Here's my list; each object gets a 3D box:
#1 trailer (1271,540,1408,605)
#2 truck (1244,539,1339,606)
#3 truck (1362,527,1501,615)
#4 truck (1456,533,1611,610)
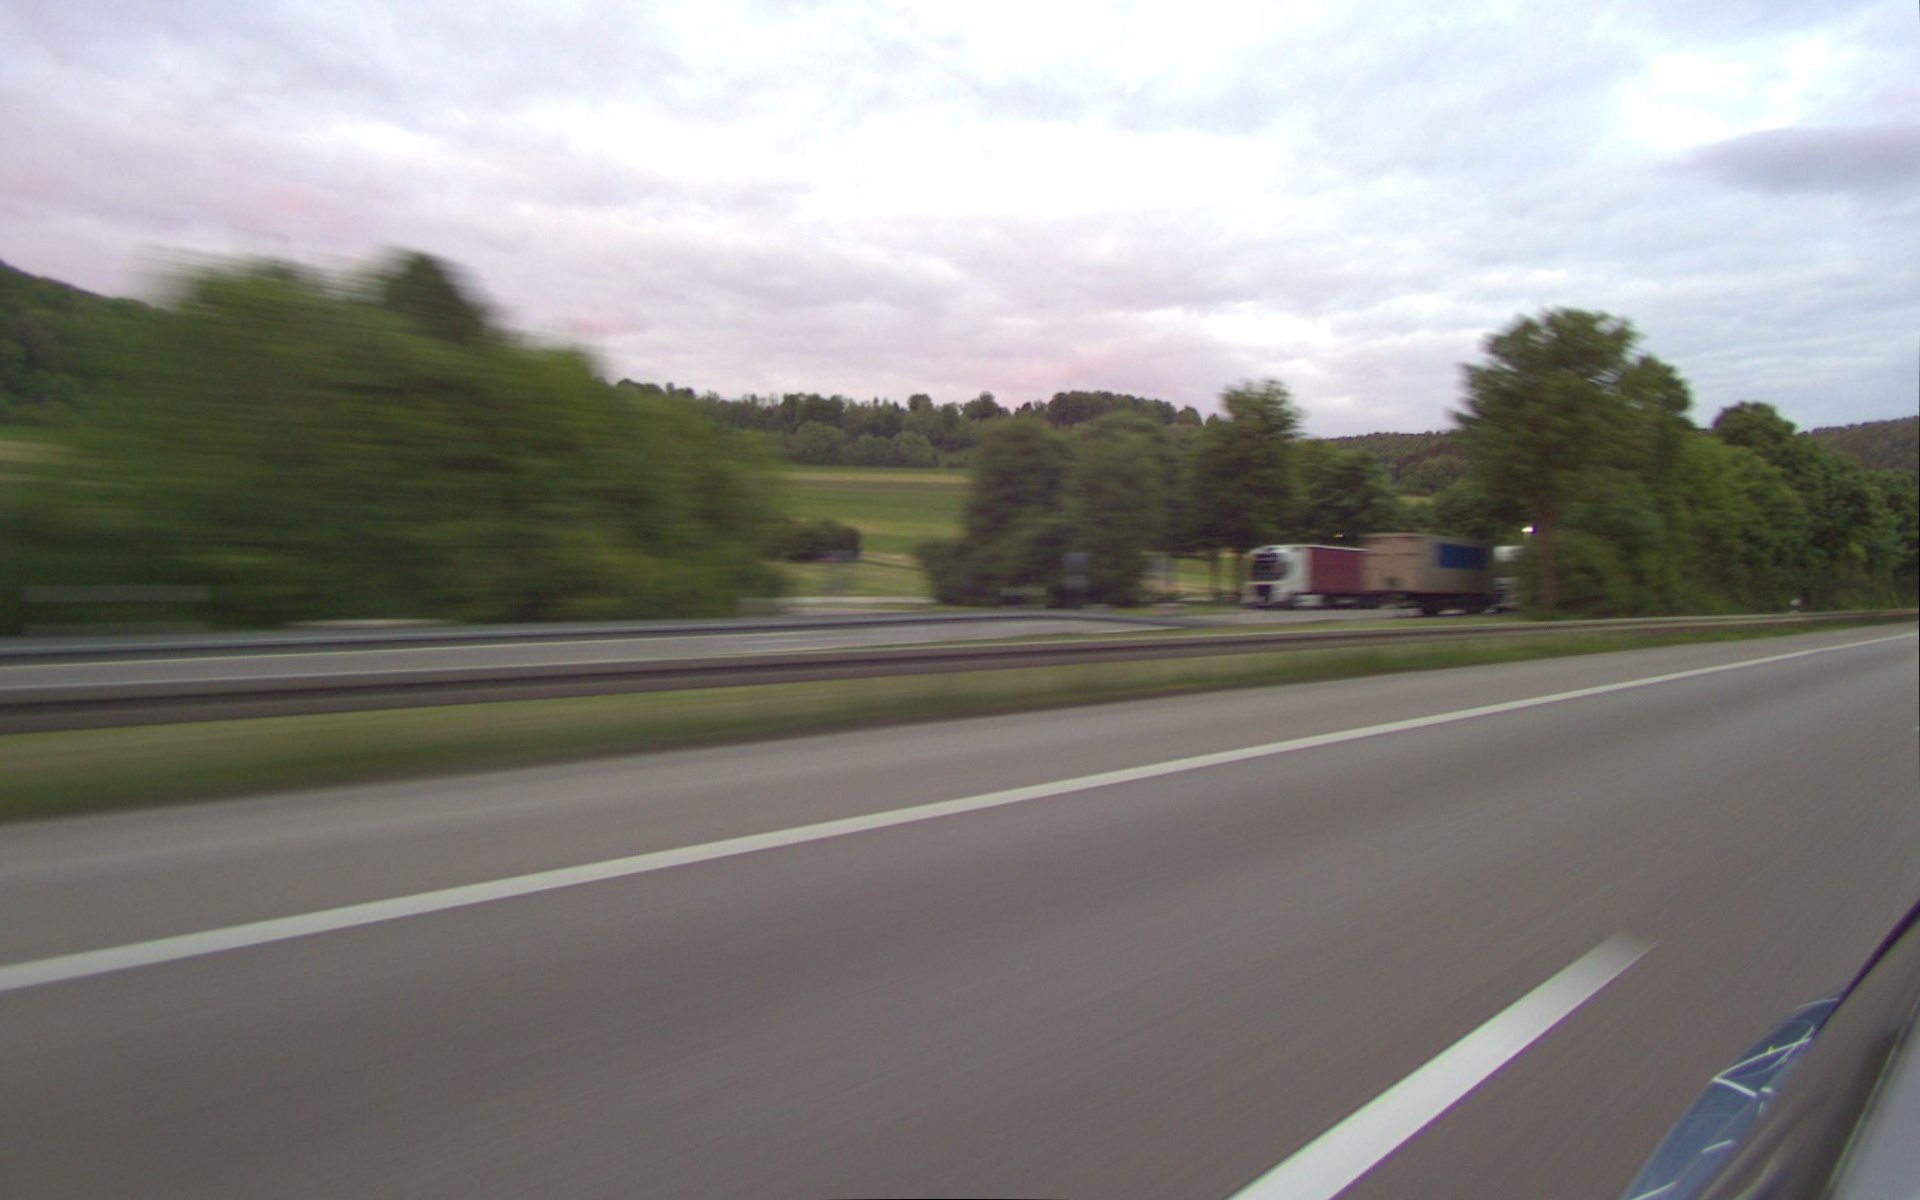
[{"bbox_3d":[25.508,-1.758,67.399,13.349,3.964,2.842,-1,2,-43],"label":"trailer"},{"bbox_3d":[20.621,-1.704,62.819,6.277,3.964,2.842,0,2,-43],"label":"truck"},{"bbox_3d":[23.856,-1.400,50.722,2.838,3.964,11.805,2,2,43],"label":"truck"},{"bbox_3d":[37.258,-1.753,65.002,3.776,4.281,19.215,3,2,44],"label":"truck"}]
